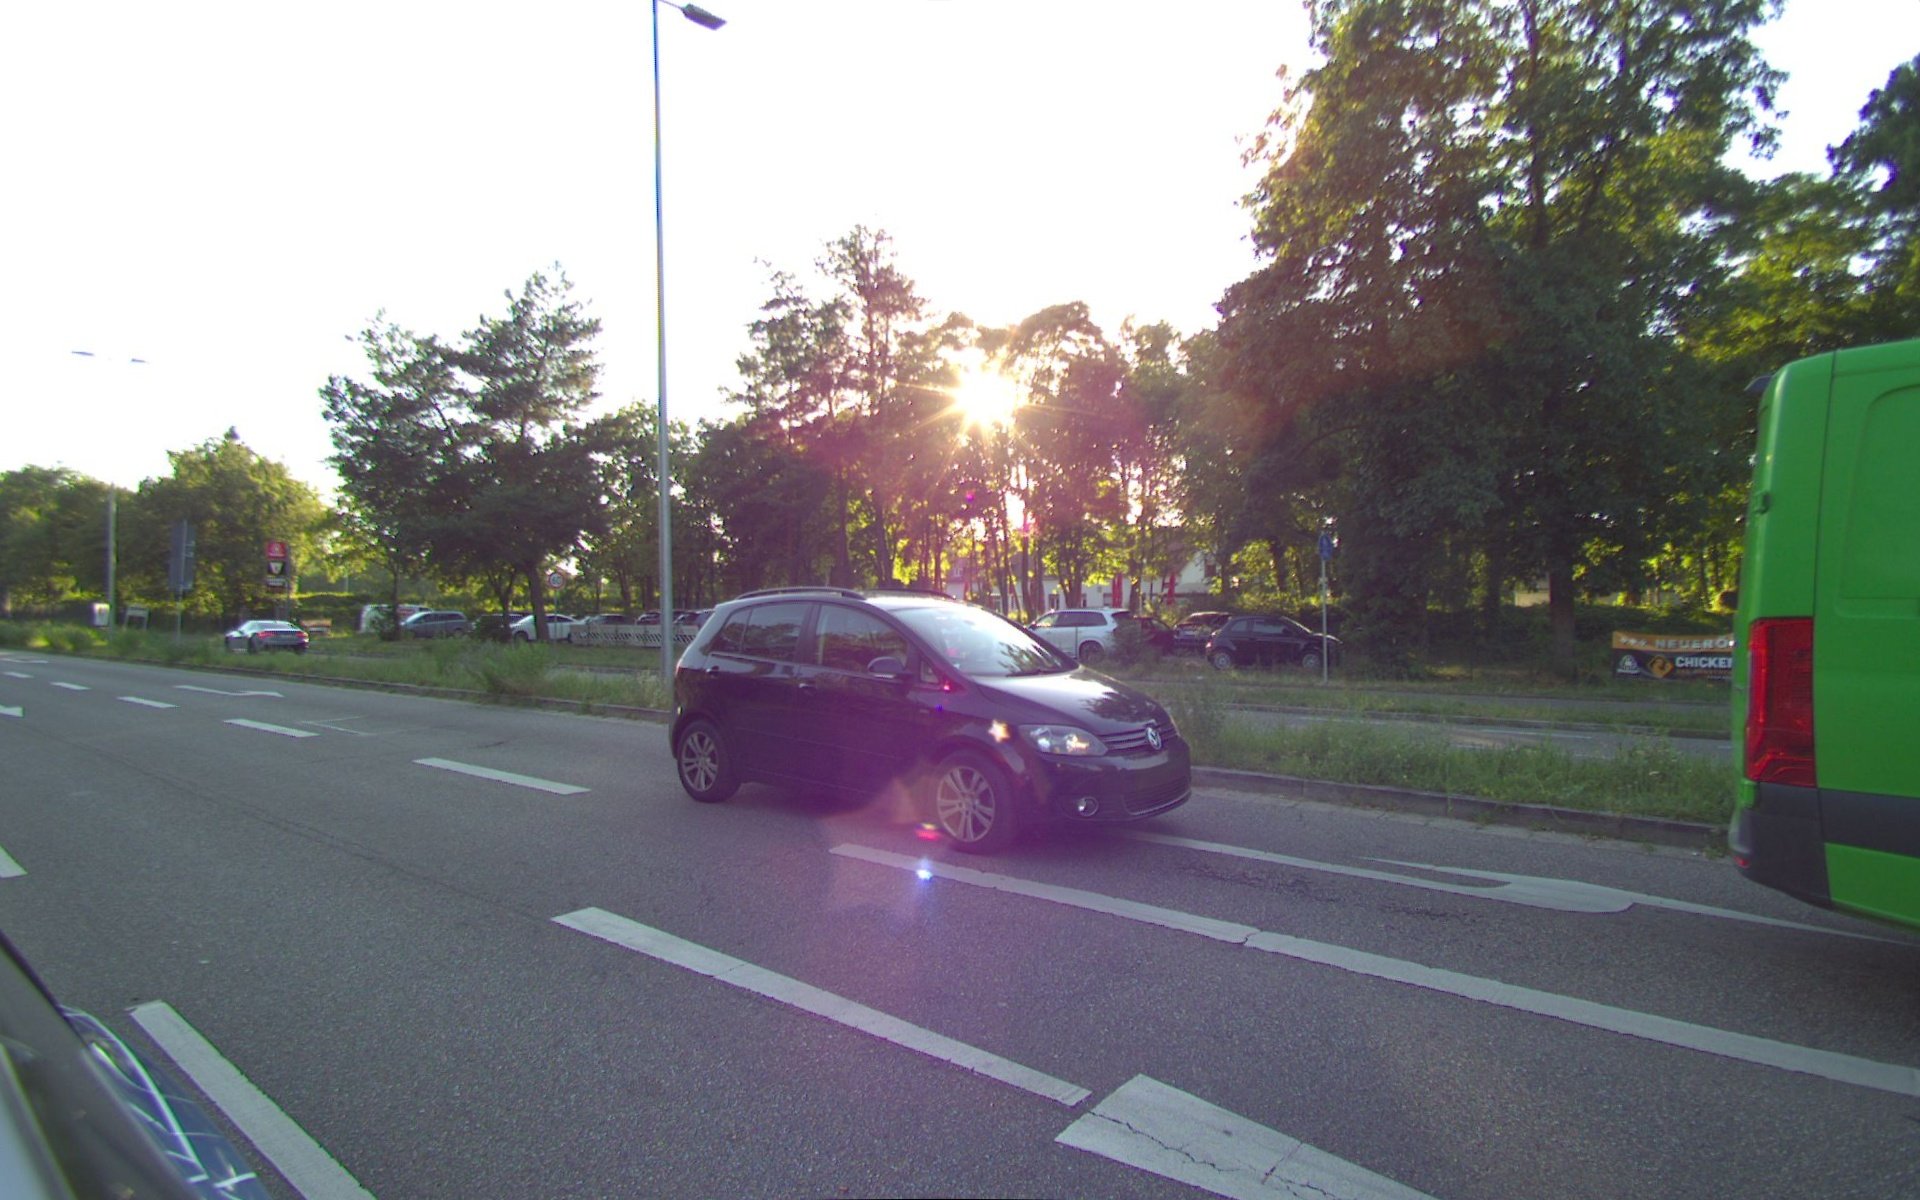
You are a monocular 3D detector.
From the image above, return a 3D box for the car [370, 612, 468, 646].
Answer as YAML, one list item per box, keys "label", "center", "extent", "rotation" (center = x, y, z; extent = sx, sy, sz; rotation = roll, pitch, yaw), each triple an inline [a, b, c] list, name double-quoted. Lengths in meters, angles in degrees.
- label: "car"
  center: [-30.230, 1.607, 56.691]
  extent: [1.907, 1.811, 4.443]
  rotation: [-1, -2, 38]

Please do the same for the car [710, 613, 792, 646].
- label: "car"
  center: [-10.896, 1.521, 52.955]
  extent: [1.765, 1.663, 3.947]
  rotation: [-1, -2, 40]

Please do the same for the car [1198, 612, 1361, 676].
- label: "car"
  center: [8.577, 1.147, 27.255]
  extent: [3.807, 1.609, 1.838]
  rotation: [-1, -2, 36]

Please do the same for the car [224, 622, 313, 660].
- label: "car"
  center: [-27.785, 1.602, 40.603]
  extent: [4.498, 1.452, 1.871]
  rotation: [-1, -2, 41]

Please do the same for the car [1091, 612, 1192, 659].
- label: "car"
  center: [6.828, 1.311, 37.852]
  extent: [1.918, 1.663, 3.944]
  rotation: [-1, -2, 42]

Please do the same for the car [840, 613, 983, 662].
- label: "car"
  center: [-1.741, 1.286, 35.598]
  extent: [4.913, 1.619, 1.975]
  rotation: [-1, -2, 37]

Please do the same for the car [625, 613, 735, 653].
- label: "car"
  center: [-12.089, 1.417, 43.958]
  extent: [1.769, 1.629, 4.470]
  rotation: [-1, -2, 37]

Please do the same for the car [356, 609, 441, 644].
- label: "car"
  center: [-32.522, 1.517, 58.691]
  extent: [1.764, 1.959, 3.949]
  rotation: [-1, -2, 38]

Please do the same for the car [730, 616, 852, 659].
- label: "car"
  center: [-6.600, 1.415, 39.301]
  extent: [4.701, 1.560, 1.975]
  rotation: [-1, -2, 37]

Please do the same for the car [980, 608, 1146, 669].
- label: "car"
  center: [3.178, 1.177, 31.811]
  extent: [4.913, 1.800, 1.975]
  rotation: [-1, -2, 37]

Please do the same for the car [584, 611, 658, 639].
- label: "car"
  center: [-20.490, 1.506, 61.245]
  extent: [1.765, 1.663, 3.947]
  rotation: [-1, -2, 40]

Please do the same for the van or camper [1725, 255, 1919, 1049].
- label: "van or camper"
  center: [5.473, 0.135, 2.270]
  extent: [5.891, 2.439, 1.973]
  rotation: [-1, -2, 40]

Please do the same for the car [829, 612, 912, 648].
- label: "car"
  center: [-4.315, 1.450, 49.053]
  extent: [1.765, 1.663, 3.947]
  rotation: [-1, -2, 39]

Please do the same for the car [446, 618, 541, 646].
- label: "car"
  center: [-23.212, 1.578, 50.458]
  extent: [1.731, 1.322, 3.947]
  rotation: [-1, -2, 39]

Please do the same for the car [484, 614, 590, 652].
- label: "car"
  center: [-20.798, 1.622, 49.852]
  extent: [1.908, 1.767, 4.441]
  rotation: [-1, -2, 39]

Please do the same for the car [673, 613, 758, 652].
- label: "car"
  center: [-9.998, 1.313, 41.529]
  extent: [1.657, 1.538, 3.060]
  rotation: [-1, -2, 38]

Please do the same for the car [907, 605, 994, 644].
- label: "car"
  center: [-0.380, 1.103, 45.118]
  extent: [1.765, 1.663, 3.947]
  rotation: [-1, -2, 39]

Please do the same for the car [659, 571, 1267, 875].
- label: "car"
  center: [-0.116, 0.676, 7.238]
  extent: [3.994, 1.564, 1.974]
  rotation: [-1, -2, 38]

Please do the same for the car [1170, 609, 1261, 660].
- label: "car"
  center: [9.005, 1.174, 35.449]
  extent: [1.914, 1.663, 3.954]
  rotation: [-1, -1, 34]
